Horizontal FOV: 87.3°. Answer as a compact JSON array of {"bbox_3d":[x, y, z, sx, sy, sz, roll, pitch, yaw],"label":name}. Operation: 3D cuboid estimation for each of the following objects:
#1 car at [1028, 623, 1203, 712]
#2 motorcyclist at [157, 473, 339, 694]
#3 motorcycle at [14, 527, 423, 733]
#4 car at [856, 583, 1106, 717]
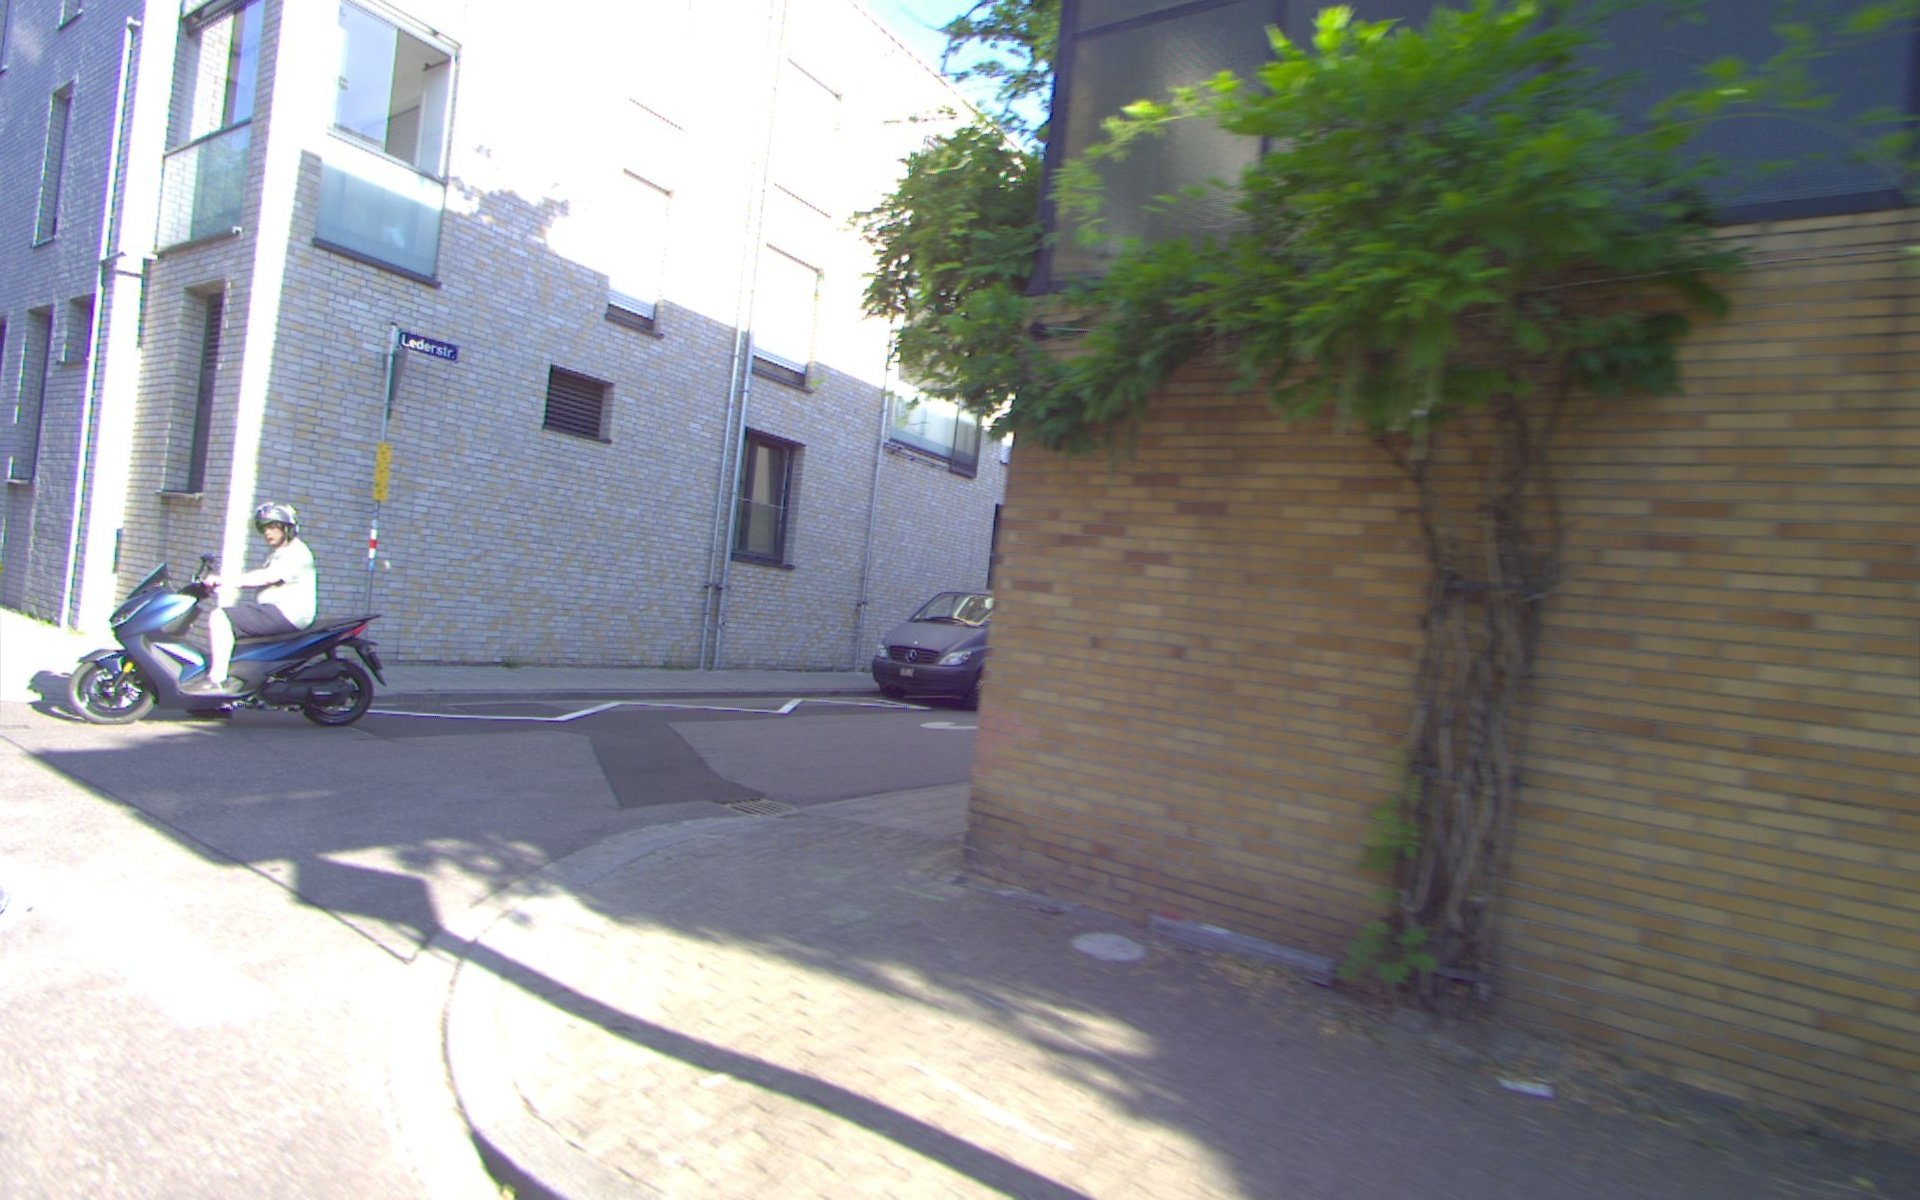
[{"bbox_3d":[3.366,1.453,21.015,1.801,1.495,4.390,5,-2,34],"label":"car"},{"bbox_3d":[-5.392,-0.100,7.701,0.869,1.489,0.890,8,-3,-28],"label":"motorcyclist"},{"bbox_3d":[-5.466,0.274,7.683,2.315,1.296,0.890,6,-2,-29],"label":"motorcycle"},{"bbox_3d":[0.512,0.833,16.751,1.834,1.803,4.607,5,0,34],"label":"car"}]
